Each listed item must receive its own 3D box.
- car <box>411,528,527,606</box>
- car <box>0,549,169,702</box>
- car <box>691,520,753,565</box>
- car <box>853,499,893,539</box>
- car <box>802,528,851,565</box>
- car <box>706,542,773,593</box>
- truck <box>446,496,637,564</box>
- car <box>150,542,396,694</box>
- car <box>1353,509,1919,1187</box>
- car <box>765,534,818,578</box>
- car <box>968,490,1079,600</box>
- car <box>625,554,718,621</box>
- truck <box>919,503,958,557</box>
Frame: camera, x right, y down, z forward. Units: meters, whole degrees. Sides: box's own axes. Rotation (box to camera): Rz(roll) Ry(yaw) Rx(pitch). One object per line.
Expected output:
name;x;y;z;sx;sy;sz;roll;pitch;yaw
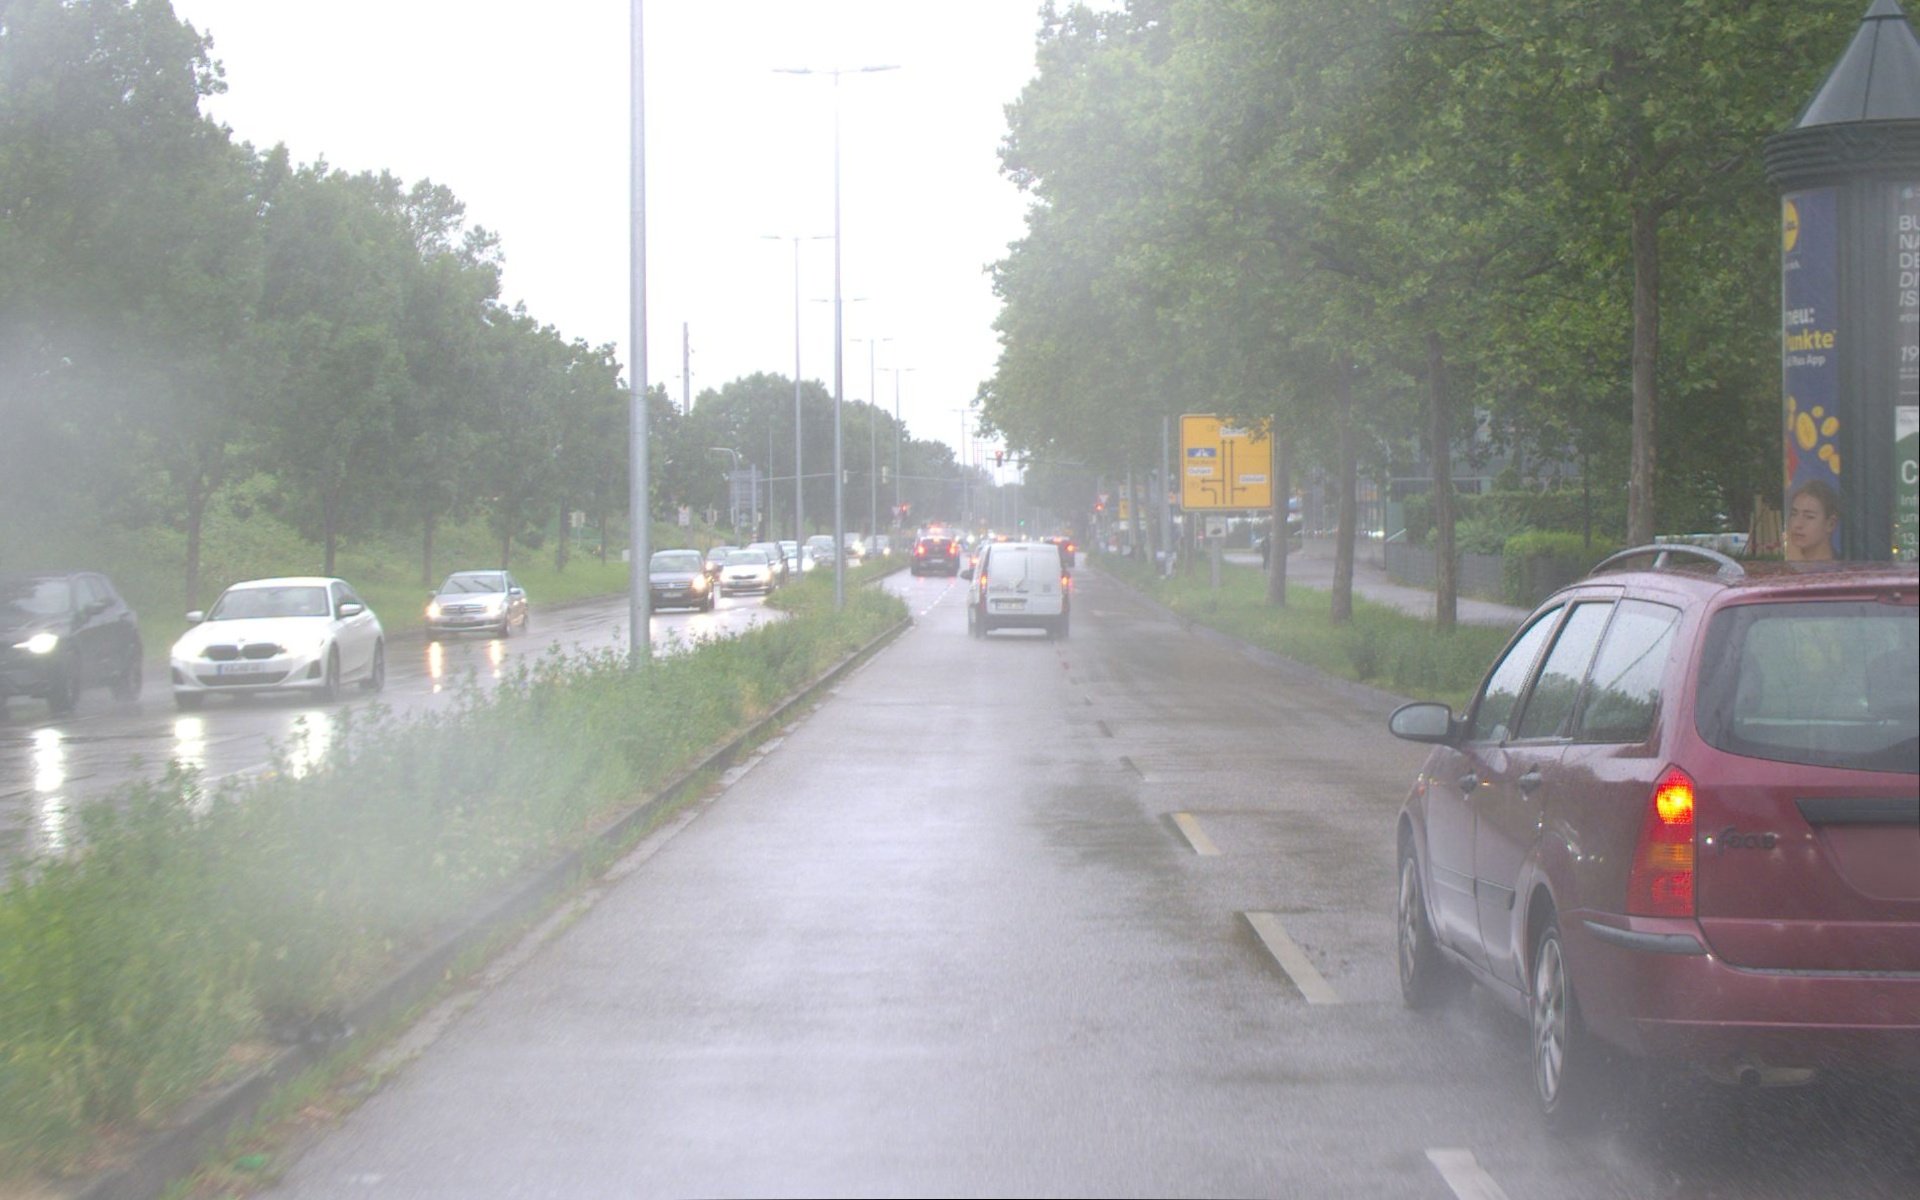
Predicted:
car;-10.667;-0.736;75.009;1.898;1.607;4.478;-1;1;-1
car;-10.886;0.261;40.530;2.037;1.654;4.679;-1;1;0
car;-9.481;-2.304;137.335;1.993;1.682;4.709;-2;2;1
car;-4.909;-4.572;193.779;1.824;1.568;4.362;8;8;1
car;-6.203;-2.493;160.096;1.908;1.569;4.709;-3;1;1
car;-7.191;-1.084;112.447;1.898;1.607;4.112;-1;1;0
truck;-22.318;-3.695;183.843;10.110;3.440;2.658;0;0;-36
car;-8.080;0.166;40.871;1.898;1.607;4.712;-3;1;0
car;2.296;0.532;9.865;1.839;1.531;4.112;1;1;0
car;-6.615;-1.736;134.624;1.908;1.569;4.710;-2;1;-4
car;1.176;-1.006;65.290;1.993;2.007;4.000;0;0;-1
car;-7.610;-0.344;91.023;1.898;1.607;4.111;-3;1;2
truck;-0.993;-3.204;157.296;1.756;2.458;4.000;0;1;-1
